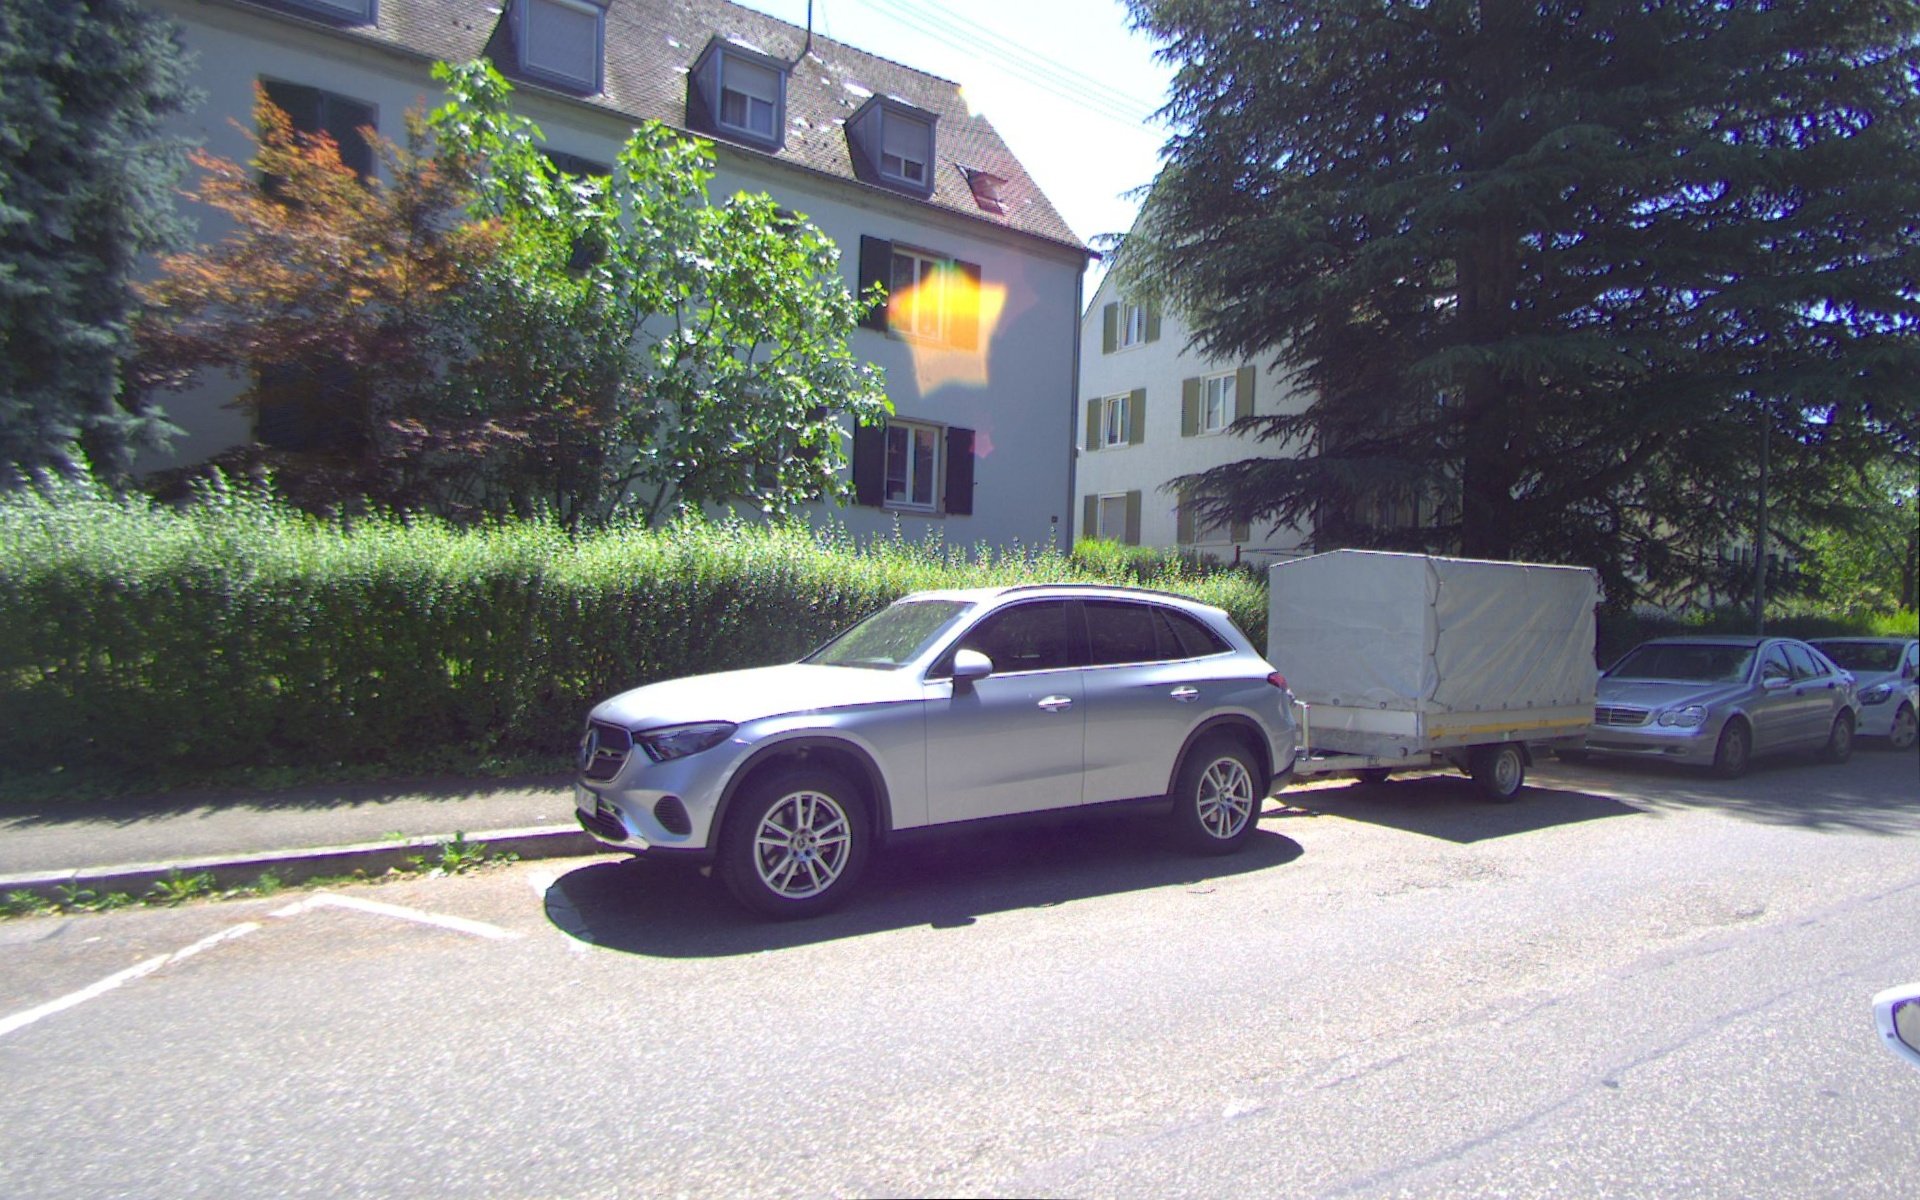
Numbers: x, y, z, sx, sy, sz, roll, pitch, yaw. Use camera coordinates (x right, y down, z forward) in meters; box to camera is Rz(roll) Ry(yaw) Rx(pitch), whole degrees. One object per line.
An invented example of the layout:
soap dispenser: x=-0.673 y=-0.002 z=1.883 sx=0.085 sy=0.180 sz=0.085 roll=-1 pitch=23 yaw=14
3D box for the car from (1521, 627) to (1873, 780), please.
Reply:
car: x=8.424 y=1.068 z=11.403 sx=4.272 sy=1.458 sz=1.701 roll=2 pitch=-2 yaw=-31

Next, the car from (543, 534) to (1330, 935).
car: x=0.047 y=0.655 z=6.289 sx=4.661 sy=1.693 sz=1.841 roll=2 pitch=-2 yaw=-33

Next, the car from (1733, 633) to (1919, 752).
car: x=12.592 y=1.203 z=14.003 sx=3.838 sy=1.408 sz=1.575 roll=2 pitch=-1 yaw=-31

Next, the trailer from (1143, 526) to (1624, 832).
trailer: x=3.743 y=0.611 z=8.678 sx=4.118 sy=2.067 sz=1.837 roll=2 pitch=-2 yaw=-33

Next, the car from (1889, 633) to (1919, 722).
car: x=17.872 y=1.338 z=17.283 sx=4.087 sy=1.463 sz=1.680 roll=2 pitch=-1 yaw=-31
